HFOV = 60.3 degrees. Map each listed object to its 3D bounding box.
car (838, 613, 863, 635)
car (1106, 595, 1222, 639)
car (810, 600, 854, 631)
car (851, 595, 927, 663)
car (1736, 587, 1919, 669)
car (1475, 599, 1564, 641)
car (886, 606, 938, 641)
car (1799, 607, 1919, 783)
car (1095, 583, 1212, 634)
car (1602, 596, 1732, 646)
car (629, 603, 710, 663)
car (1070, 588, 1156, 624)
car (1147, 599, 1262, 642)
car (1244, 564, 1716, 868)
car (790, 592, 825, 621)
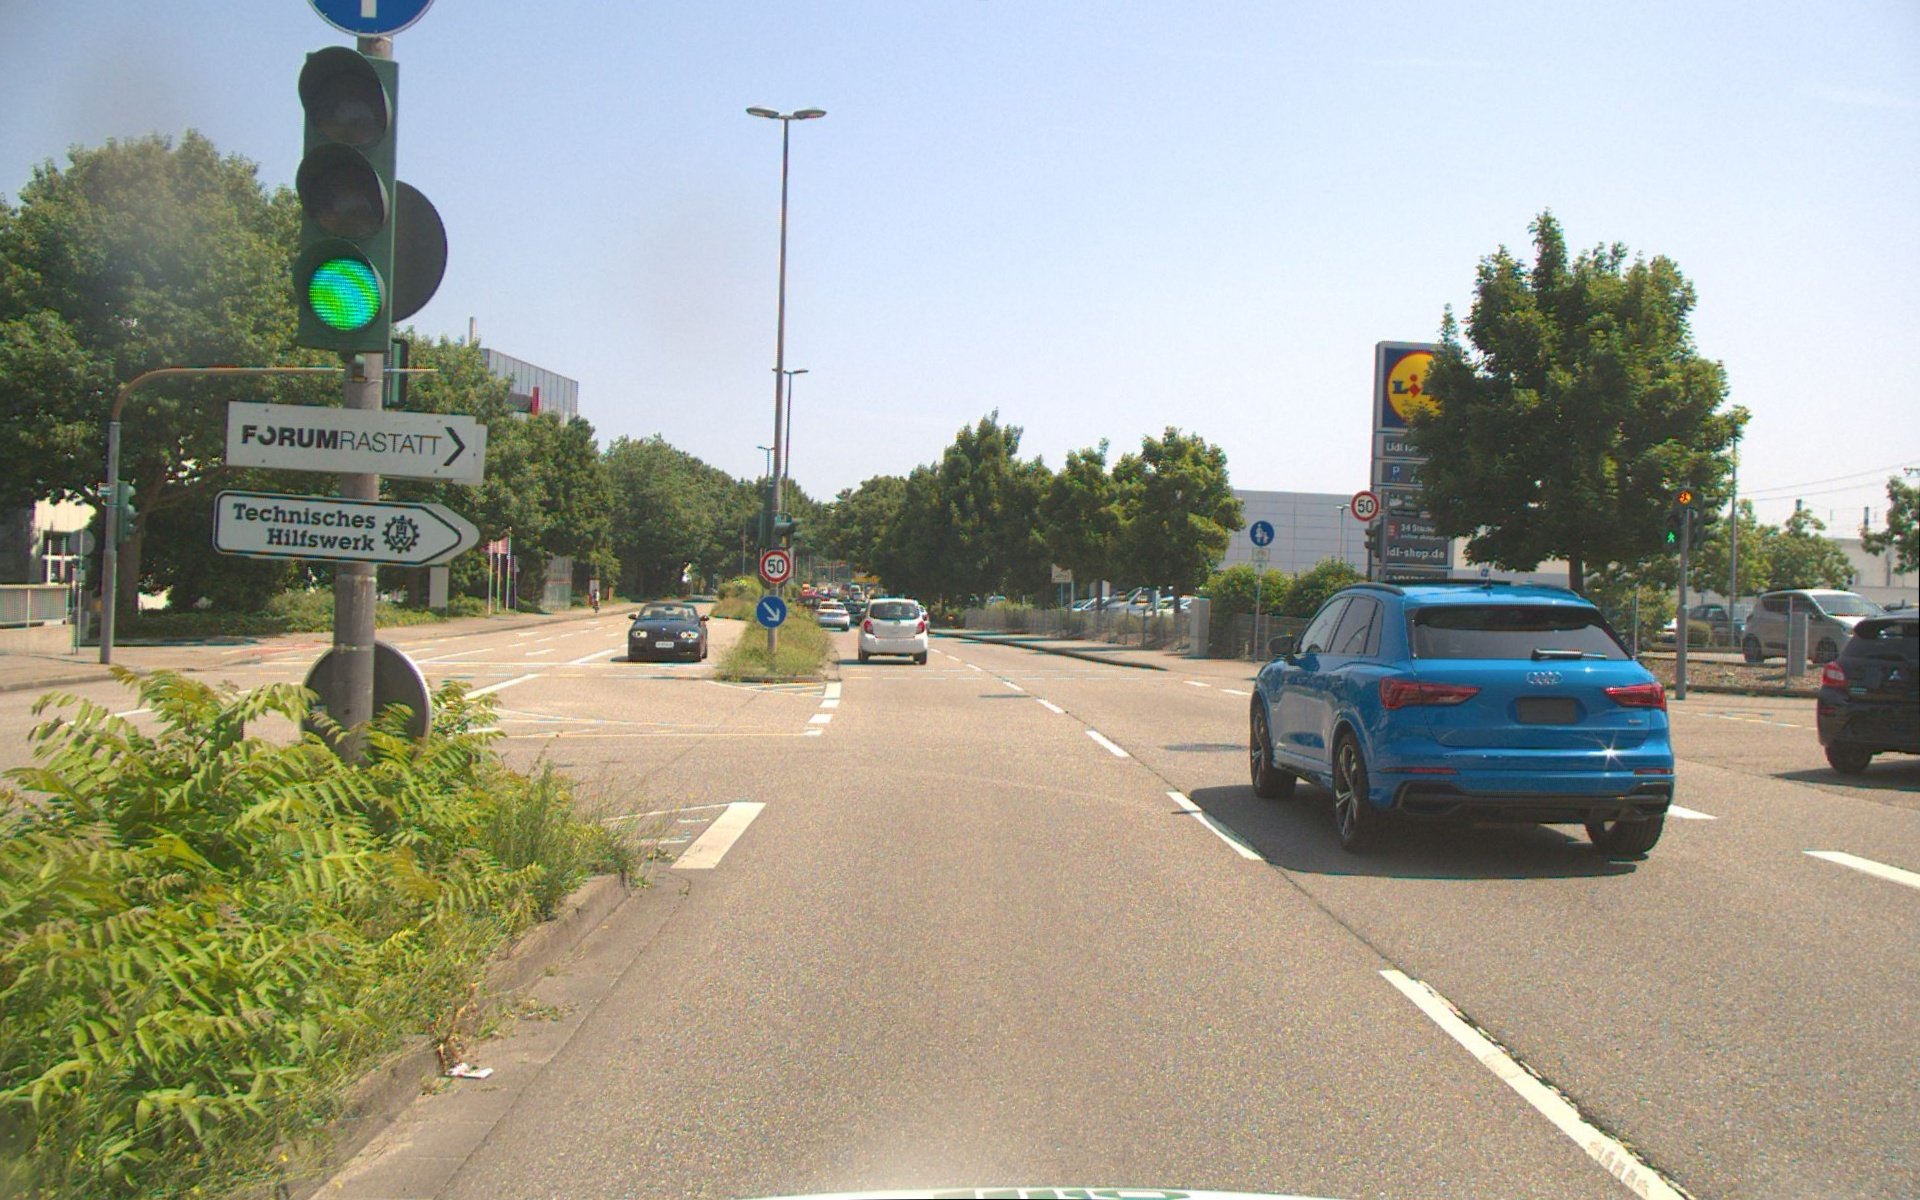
[{"bbox_3d":[-7.250,1.596,108.945,1.414,1.372,3.454,0,0,-8],"label":"car"},{"bbox_3d":[8.142,0.659,66.247,4.282,1.620,1.825,2,0,-5],"label":"car"},{"bbox_3d":[-6.360,0.757,81.888,1.850,1.378,3.992,3,-1,-9],"label":"car"},{"bbox_3d":[-1.753,0.688,40.274,1.607,1.579,3.320,0,0,-7],"label":"car"},{"bbox_3d":[16.617,0.492,31.804,1.393,1.463,3.528,-1,1,-7],"label":"car"},{"bbox_3d":[19.811,0.695,58.711,1.591,1.418,3.711,0,0,-7],"label":"car"},{"bbox_3d":[-2.254,1.095,77.289,1.832,1.498,3.991,3,-1,-10],"label":"car"},{"bbox_3d":[9.207,0.803,14.680,3.385,1.425,1.604,1,0,-31],"label":"car"},{"bbox_3d":[8.058,0.339,68.942,4.528,1.958,1.824,2,0,-7],"label":"car"},{"bbox_3d":[20.675,0.615,48.556,1.702,1.418,4.074,0,-1,-7],"label":"car"},{"bbox_3d":[-6.872,0.759,39.420,1.696,1.347,4.142,1,0,-8],"label":"car"},{"bbox_3d":[7.614,0.298,82.599,3.915,1.624,1.822,2,-1,-11],"label":"car"},{"bbox_3d":[9.100,0.755,61.718,3.920,1.446,1.695,2,0,-7],"label":"car"},{"bbox_3d":[3.163,0.614,11.039,1.771,1.620,4.349,0,0,0],"label":"car"},{"bbox_3d":[-8.877,0.383,95.904,1.849,1.636,3.993,0,0,-8],"label":"car"}]
